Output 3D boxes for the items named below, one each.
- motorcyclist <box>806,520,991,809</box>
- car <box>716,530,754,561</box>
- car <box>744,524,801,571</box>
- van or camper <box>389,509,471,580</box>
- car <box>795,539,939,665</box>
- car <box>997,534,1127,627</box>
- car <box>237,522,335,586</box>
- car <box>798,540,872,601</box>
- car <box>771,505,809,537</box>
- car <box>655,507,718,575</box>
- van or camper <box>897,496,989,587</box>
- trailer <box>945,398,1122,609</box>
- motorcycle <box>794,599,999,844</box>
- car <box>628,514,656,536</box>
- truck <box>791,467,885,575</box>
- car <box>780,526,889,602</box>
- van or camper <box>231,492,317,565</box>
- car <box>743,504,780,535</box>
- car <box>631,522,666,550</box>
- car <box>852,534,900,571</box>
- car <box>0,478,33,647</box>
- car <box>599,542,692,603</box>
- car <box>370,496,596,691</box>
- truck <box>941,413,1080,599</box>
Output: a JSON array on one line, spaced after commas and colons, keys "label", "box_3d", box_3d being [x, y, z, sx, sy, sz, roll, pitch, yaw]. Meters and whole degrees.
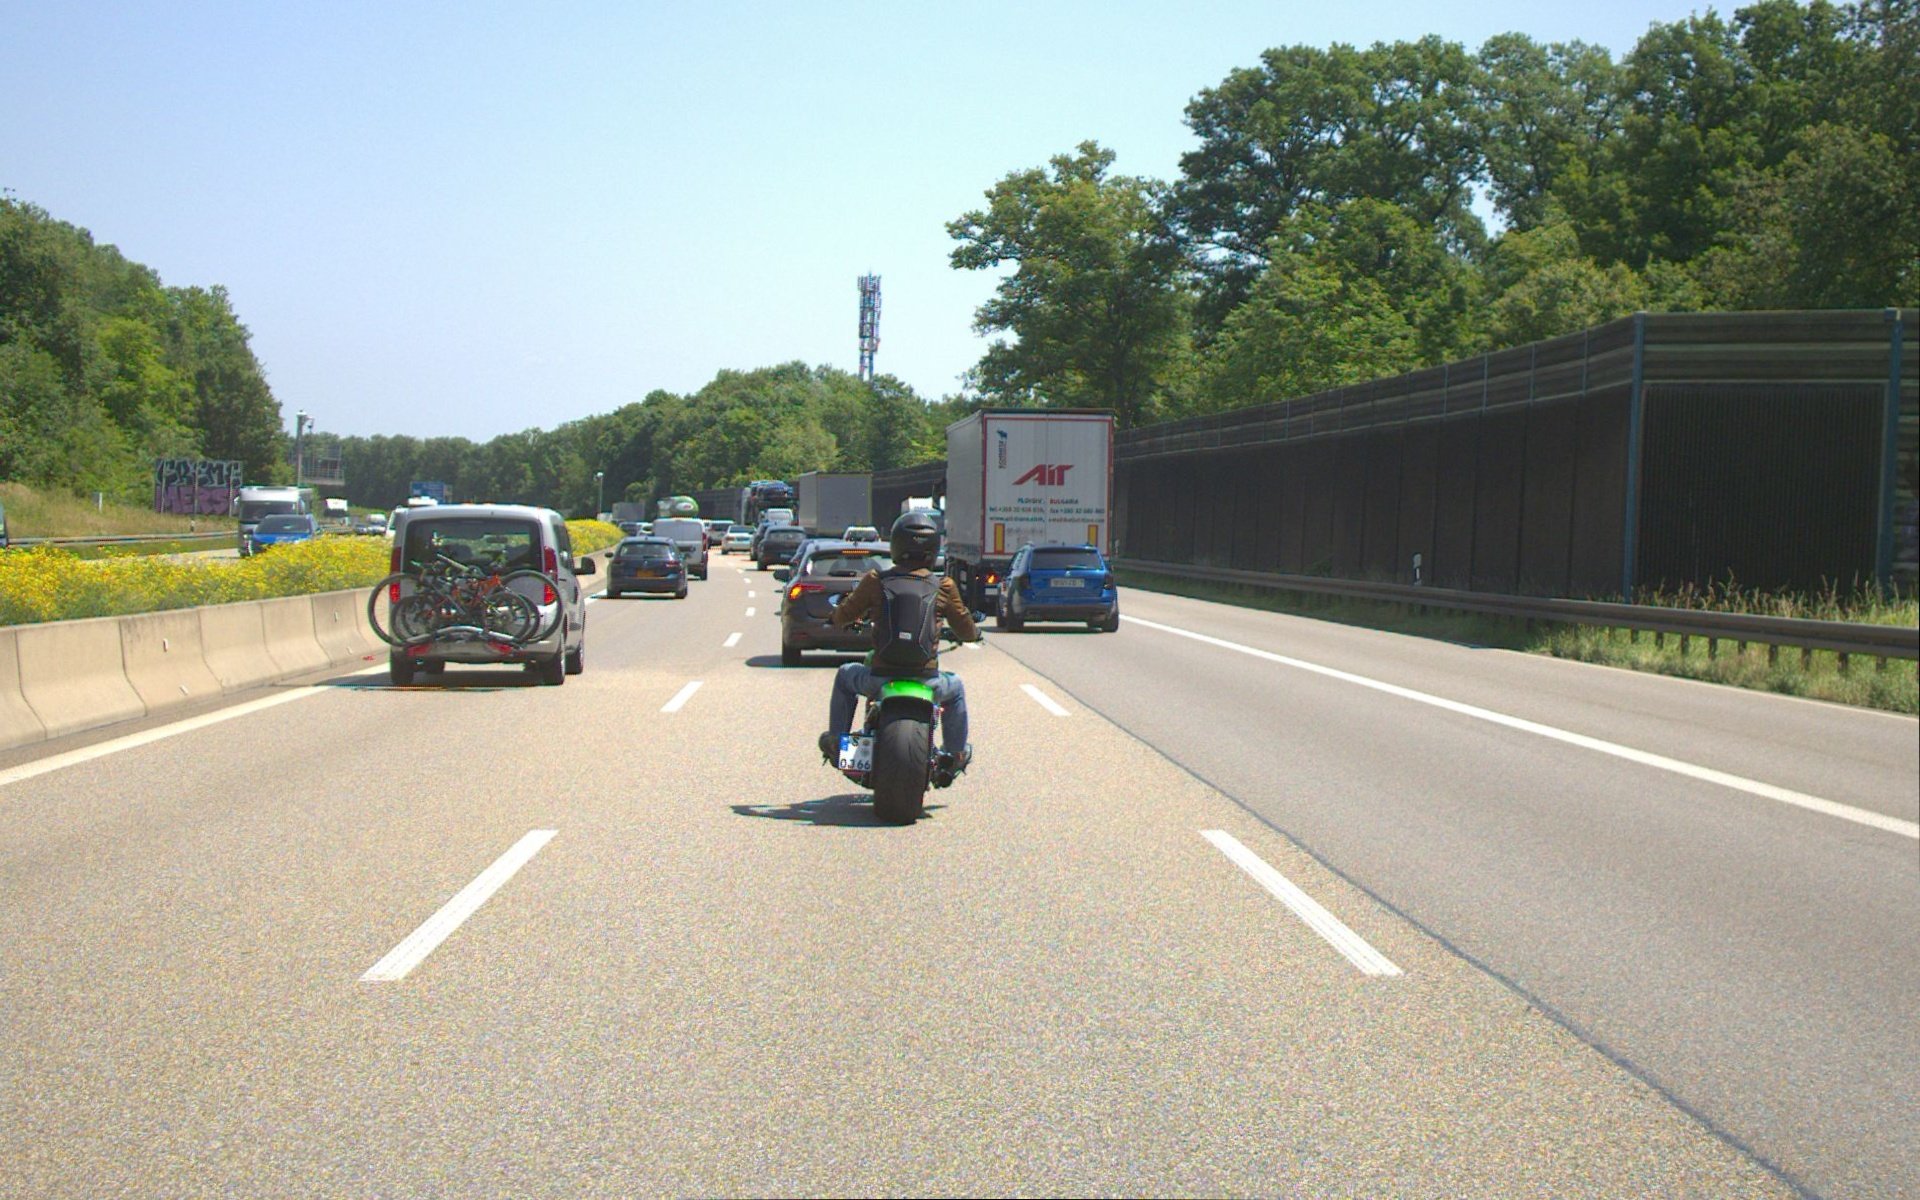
[{"label": "motorcyclist", "box_3d": [-0.309, 0.328, 18.536, 0.899, 1.470, 1.872, 0, 0, 2]}, {"label": "car", "box_3d": [-11.143, -2.687, 170.484, 1.832, 1.491, 3.744, 0, 0, -4]}, {"label": "car", "box_3d": [-6.752, -1.876, 123.712, 1.993, 1.634, 4.000, 0, 0, -3]}, {"label": "van or camper", "box_3d": [-15.436, -1.594, 100.267, 1.882, 2.007, 4.588, 0, 0, -3]}, {"label": "car", "box_3d": [-1.139, 0.014, 41.842, 1.662, 1.448, 3.869, 0, 0, -2]}, {"label": "car", "box_3d": [1.655, -0.318, 57.134, 1.650, 1.477, 4.482, 0, 0, -5]}, {"label": "car", "box_3d": [-18.400, -1.247, 94.063, 1.993, 1.685, 4.401, 0, 0, -2]}, {"label": "car", "box_3d": [-3.228, -0.760, 89.087, 1.779, 1.547, 3.585, 0, 0, 0]}, {"label": "car", "box_3d": [-10.283, -4.777, 208.297, 2.107, 1.870, 4.001, 0, 0, -5]}, {"label": "car", "box_3d": [-8.323, -1.770, 104.874, 1.791, 2.007, 3.642, 0, 0, -3]}, {"label": "van or camper", "box_3d": [-0.585, -1.812, 109.215, 2.685, 2.803, 6.803, 0, 0, -2]}, {"label": "trailer", "box_3d": [1.384, -1.998, 72.960, 2.885, 4.024, 13.797, 1, 1, -2]}, {"label": "motorcycle", "box_3d": [-0.302, 0.609, 18.618, 0.964, 1.144, 2.811, 1, 1, 1]}, {"label": "car", "box_3d": [-22.444, -5.274, 242.546, 1.832, 1.491, 3.744, 0, 0, -6]}, {"label": "truck", "box_3d": [-5.857, -3.681, 163.310, 3.802, 4.943, 8.952, 0, 0, -6]}, {"label": "car", "box_3d": [-2.480, -0.683, 66.886, 1.993, 1.425, 3.848, 0, 0, -4]}, {"label": "van or camper", "box_3d": [-25.264, -2.591, 126.774, 2.186, 2.552, 6.933, 0, 0, -4]}, {"label": "car", "box_3d": [-12.356, -4.993, 213.630, 2.107, 1.870, 4.001, 0, 0, -5]}, {"label": "car", "box_3d": [-17.756, -3.642, 196.104, 1.832, 1.491, 3.744, 0, 0, -4]}, {"label": "car", "box_3d": [-3.651, -2.042, 148.706, 1.993, 1.568, 4.000, 0, 0, -3]}, {"label": "car", "box_3d": [-12.409, -0.447, 40.194, 1.993, 2.007, 4.421, 0, 0, -1]}, {"label": "car", "box_3d": [-7.332, -0.631, 80.394, 1.993, 1.382, 4.000, 0, 0, -3]}, {"label": "car", "box_3d": [-4.847, -0.073, 35.459, 1.899, 1.867, 4.413, 0, 0, -3]}, {"label": "truck", "box_3d": [1.112, -2.170, 79.802, 2.885, 4.132, 5.987, 1, 1, -2]}]
